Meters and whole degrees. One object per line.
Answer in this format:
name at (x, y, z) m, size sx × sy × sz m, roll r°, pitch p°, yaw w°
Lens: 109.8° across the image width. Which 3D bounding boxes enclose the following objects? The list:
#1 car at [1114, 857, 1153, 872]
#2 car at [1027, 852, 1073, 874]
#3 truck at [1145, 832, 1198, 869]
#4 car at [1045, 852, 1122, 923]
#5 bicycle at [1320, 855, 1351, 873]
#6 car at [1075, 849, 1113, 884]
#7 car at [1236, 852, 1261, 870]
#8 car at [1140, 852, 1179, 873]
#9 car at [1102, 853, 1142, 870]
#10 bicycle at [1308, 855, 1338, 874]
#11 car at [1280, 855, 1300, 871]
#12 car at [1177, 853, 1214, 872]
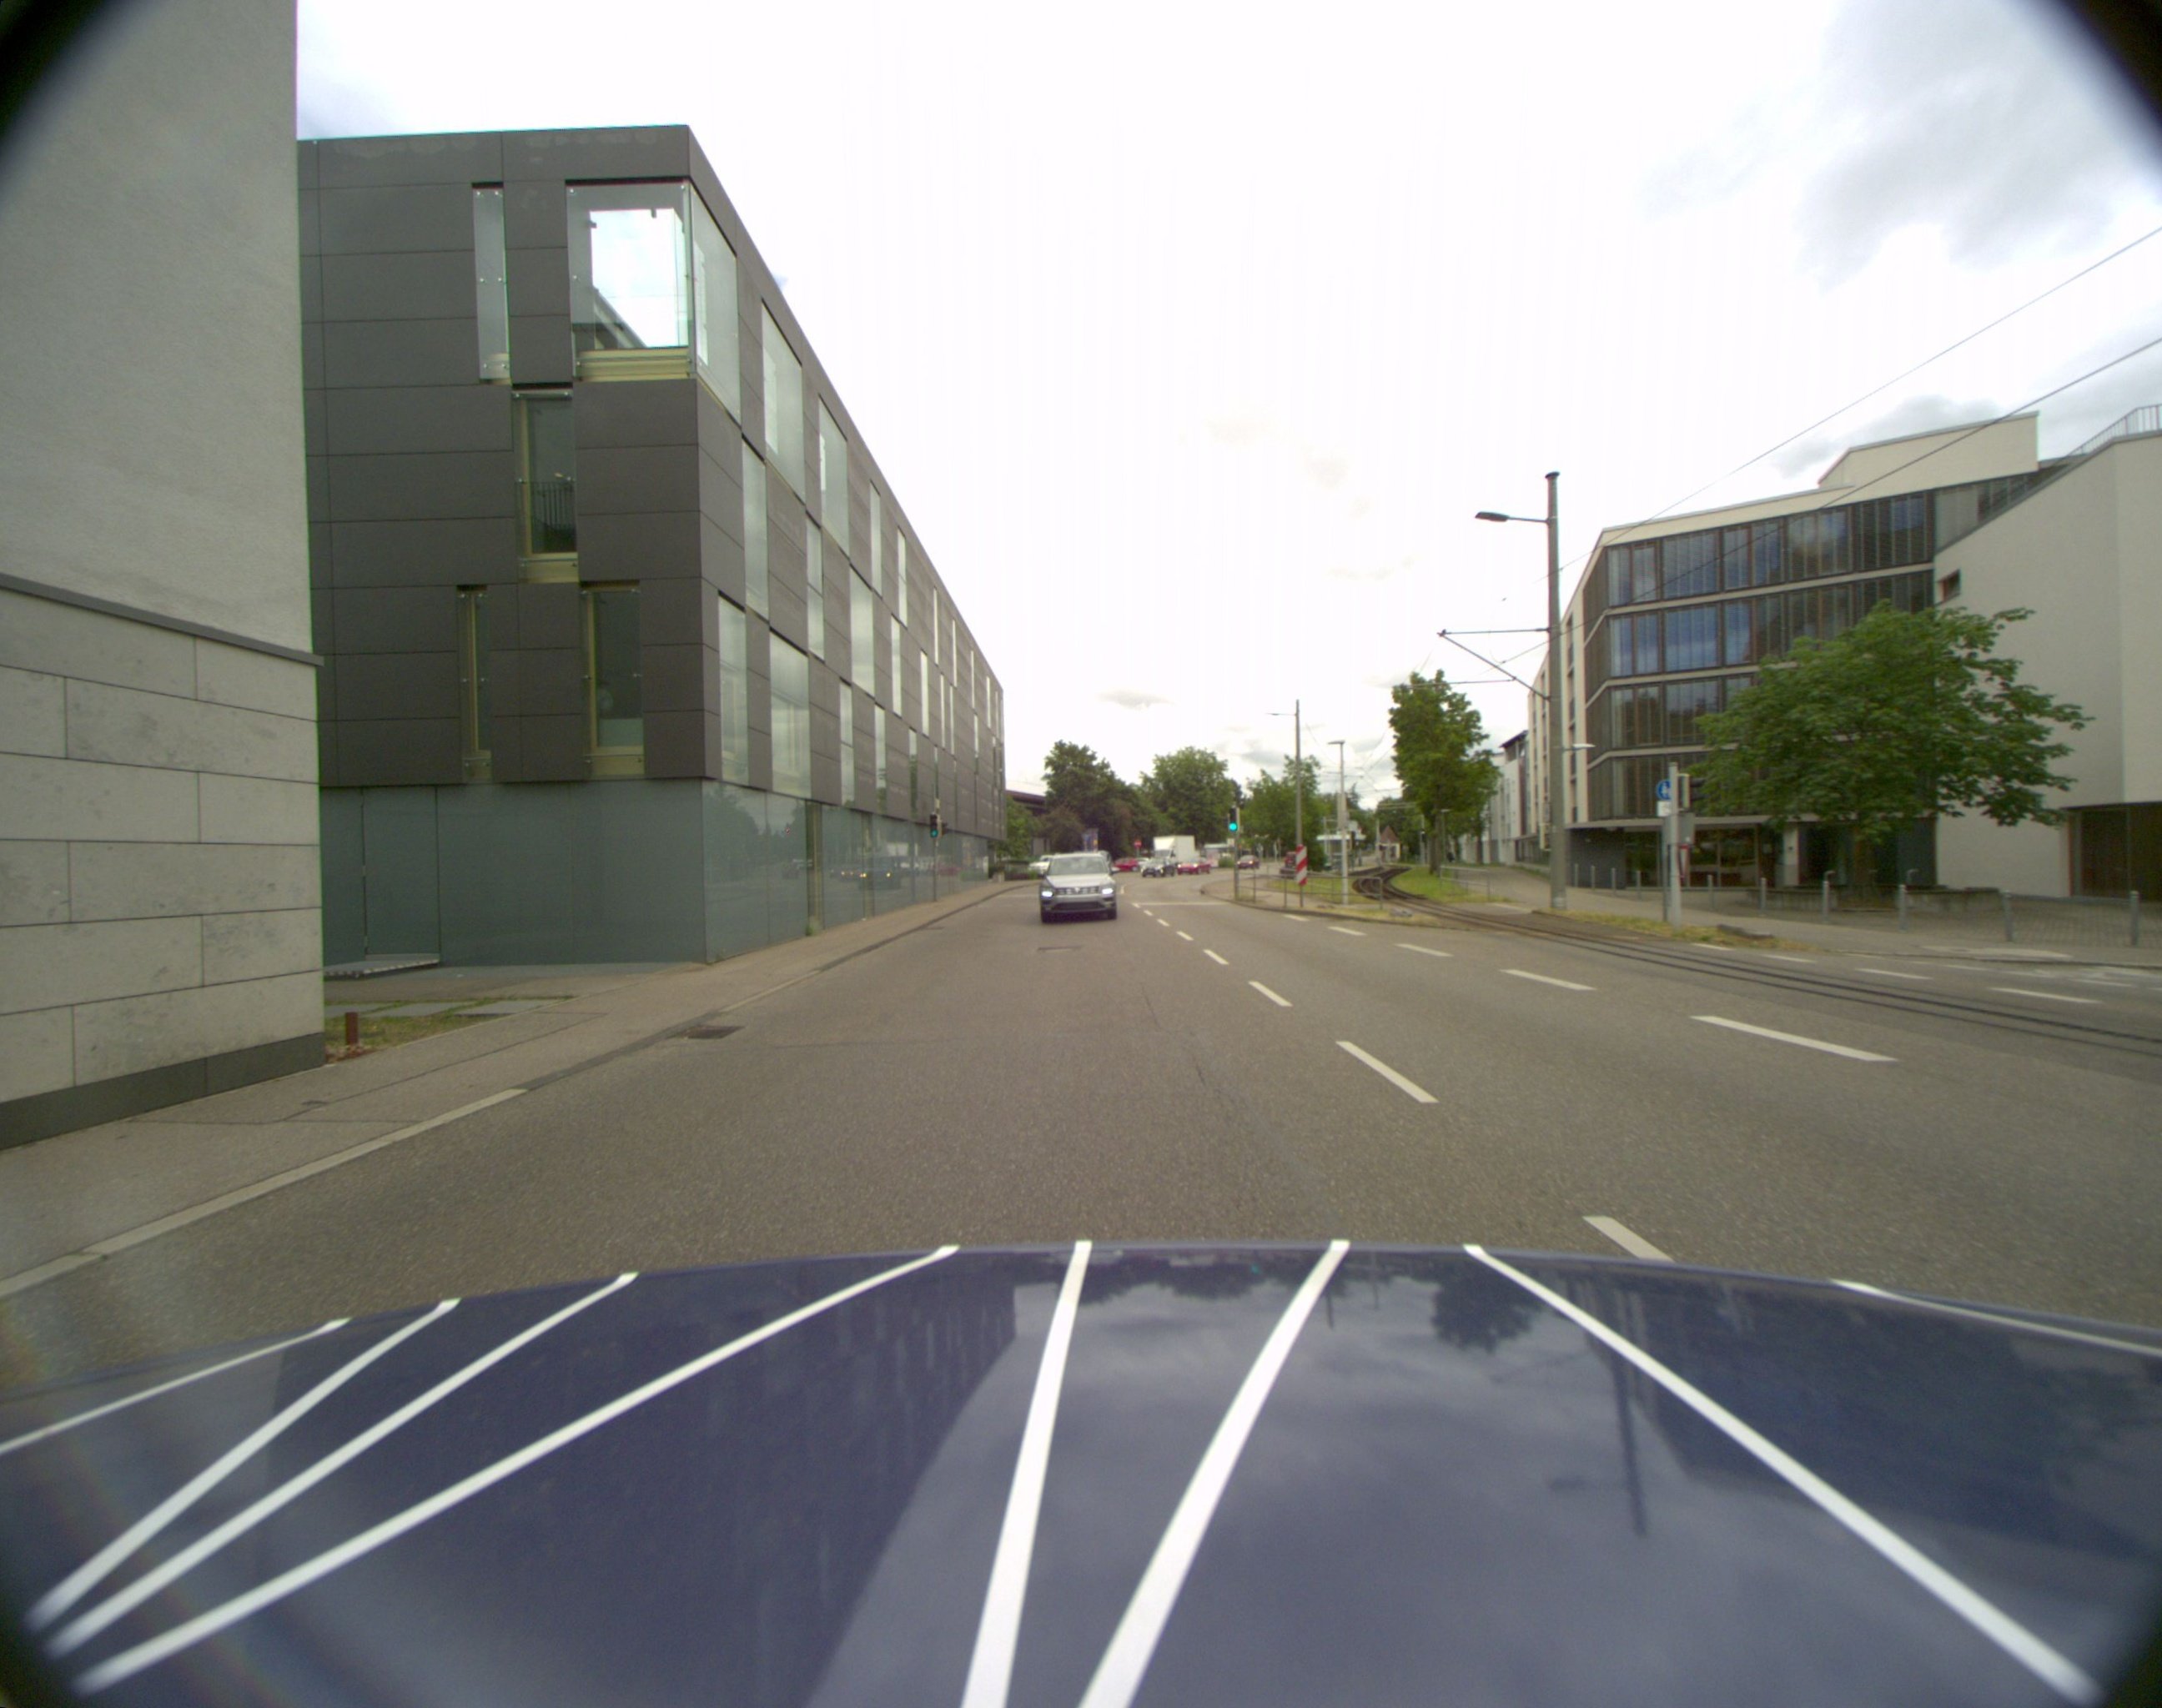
car at (5.673, 1.088, 82.166) m, size 3.999 × 1.402 × 1.524 m, roll -3°, pitch 0°, yaw -5°
car at (-2.555, 0.767, 64.578) m, size 1.853 × 1.747 × 4.730 m, roll -1°, pitch 0°, yaw 26°
truck at (8.933, -0.427, 74.114) m, size 2.537 × 3.406 × 7.788 m, roll -1°, pitch 1°, yaw 27°
car at (0.107, 0.802, 20.387) m, size 1.811 × 1.637 × 4.331 m, roll -1°, pitch 0°, yaw 1°
bicycle at (16.261, 0.650, 48.548) m, size 1.750 × 1.040 × 0.409 m, roll -3°, pitch 0°, yaw 28°
car at (0.769, 0.670, 42.745) m, size 1.849 × 1.850 × 4.001 m, roll -1°, pitch 0°, yaw 5°
car at (18.263, 0.758, 82.604) m, size 1.846 × 1.850 × 4.264 m, roll -1°, pitch 0°, yaw 23°
car at (6.011, 0.617, 57.567) m, size 1.846 × 1.525 × 4.006 m, roll -1°, pitch 0°, yaw 22°
car at (4.173, 0.749, 77.368) m, size 3.895 × 1.475 × 1.683 m, roll -4°, pitch 0°, yaw 2°
bicycle at (15.105, 0.647, 47.378) m, size 1.707 × 1.082 × 0.408 m, roll -3°, pitch 0°, yaw 14°
car at (24.151, 1.008, 87.667) m, size 1.682 × 1.798 × 4.358 m, roll 1°, pitch 1°, yaw 22°
car at (9.607, 0.671, 63.514) m, size 1.846 × 1.525 × 4.008 m, roll 1°, pitch 0°, yaw 29°
